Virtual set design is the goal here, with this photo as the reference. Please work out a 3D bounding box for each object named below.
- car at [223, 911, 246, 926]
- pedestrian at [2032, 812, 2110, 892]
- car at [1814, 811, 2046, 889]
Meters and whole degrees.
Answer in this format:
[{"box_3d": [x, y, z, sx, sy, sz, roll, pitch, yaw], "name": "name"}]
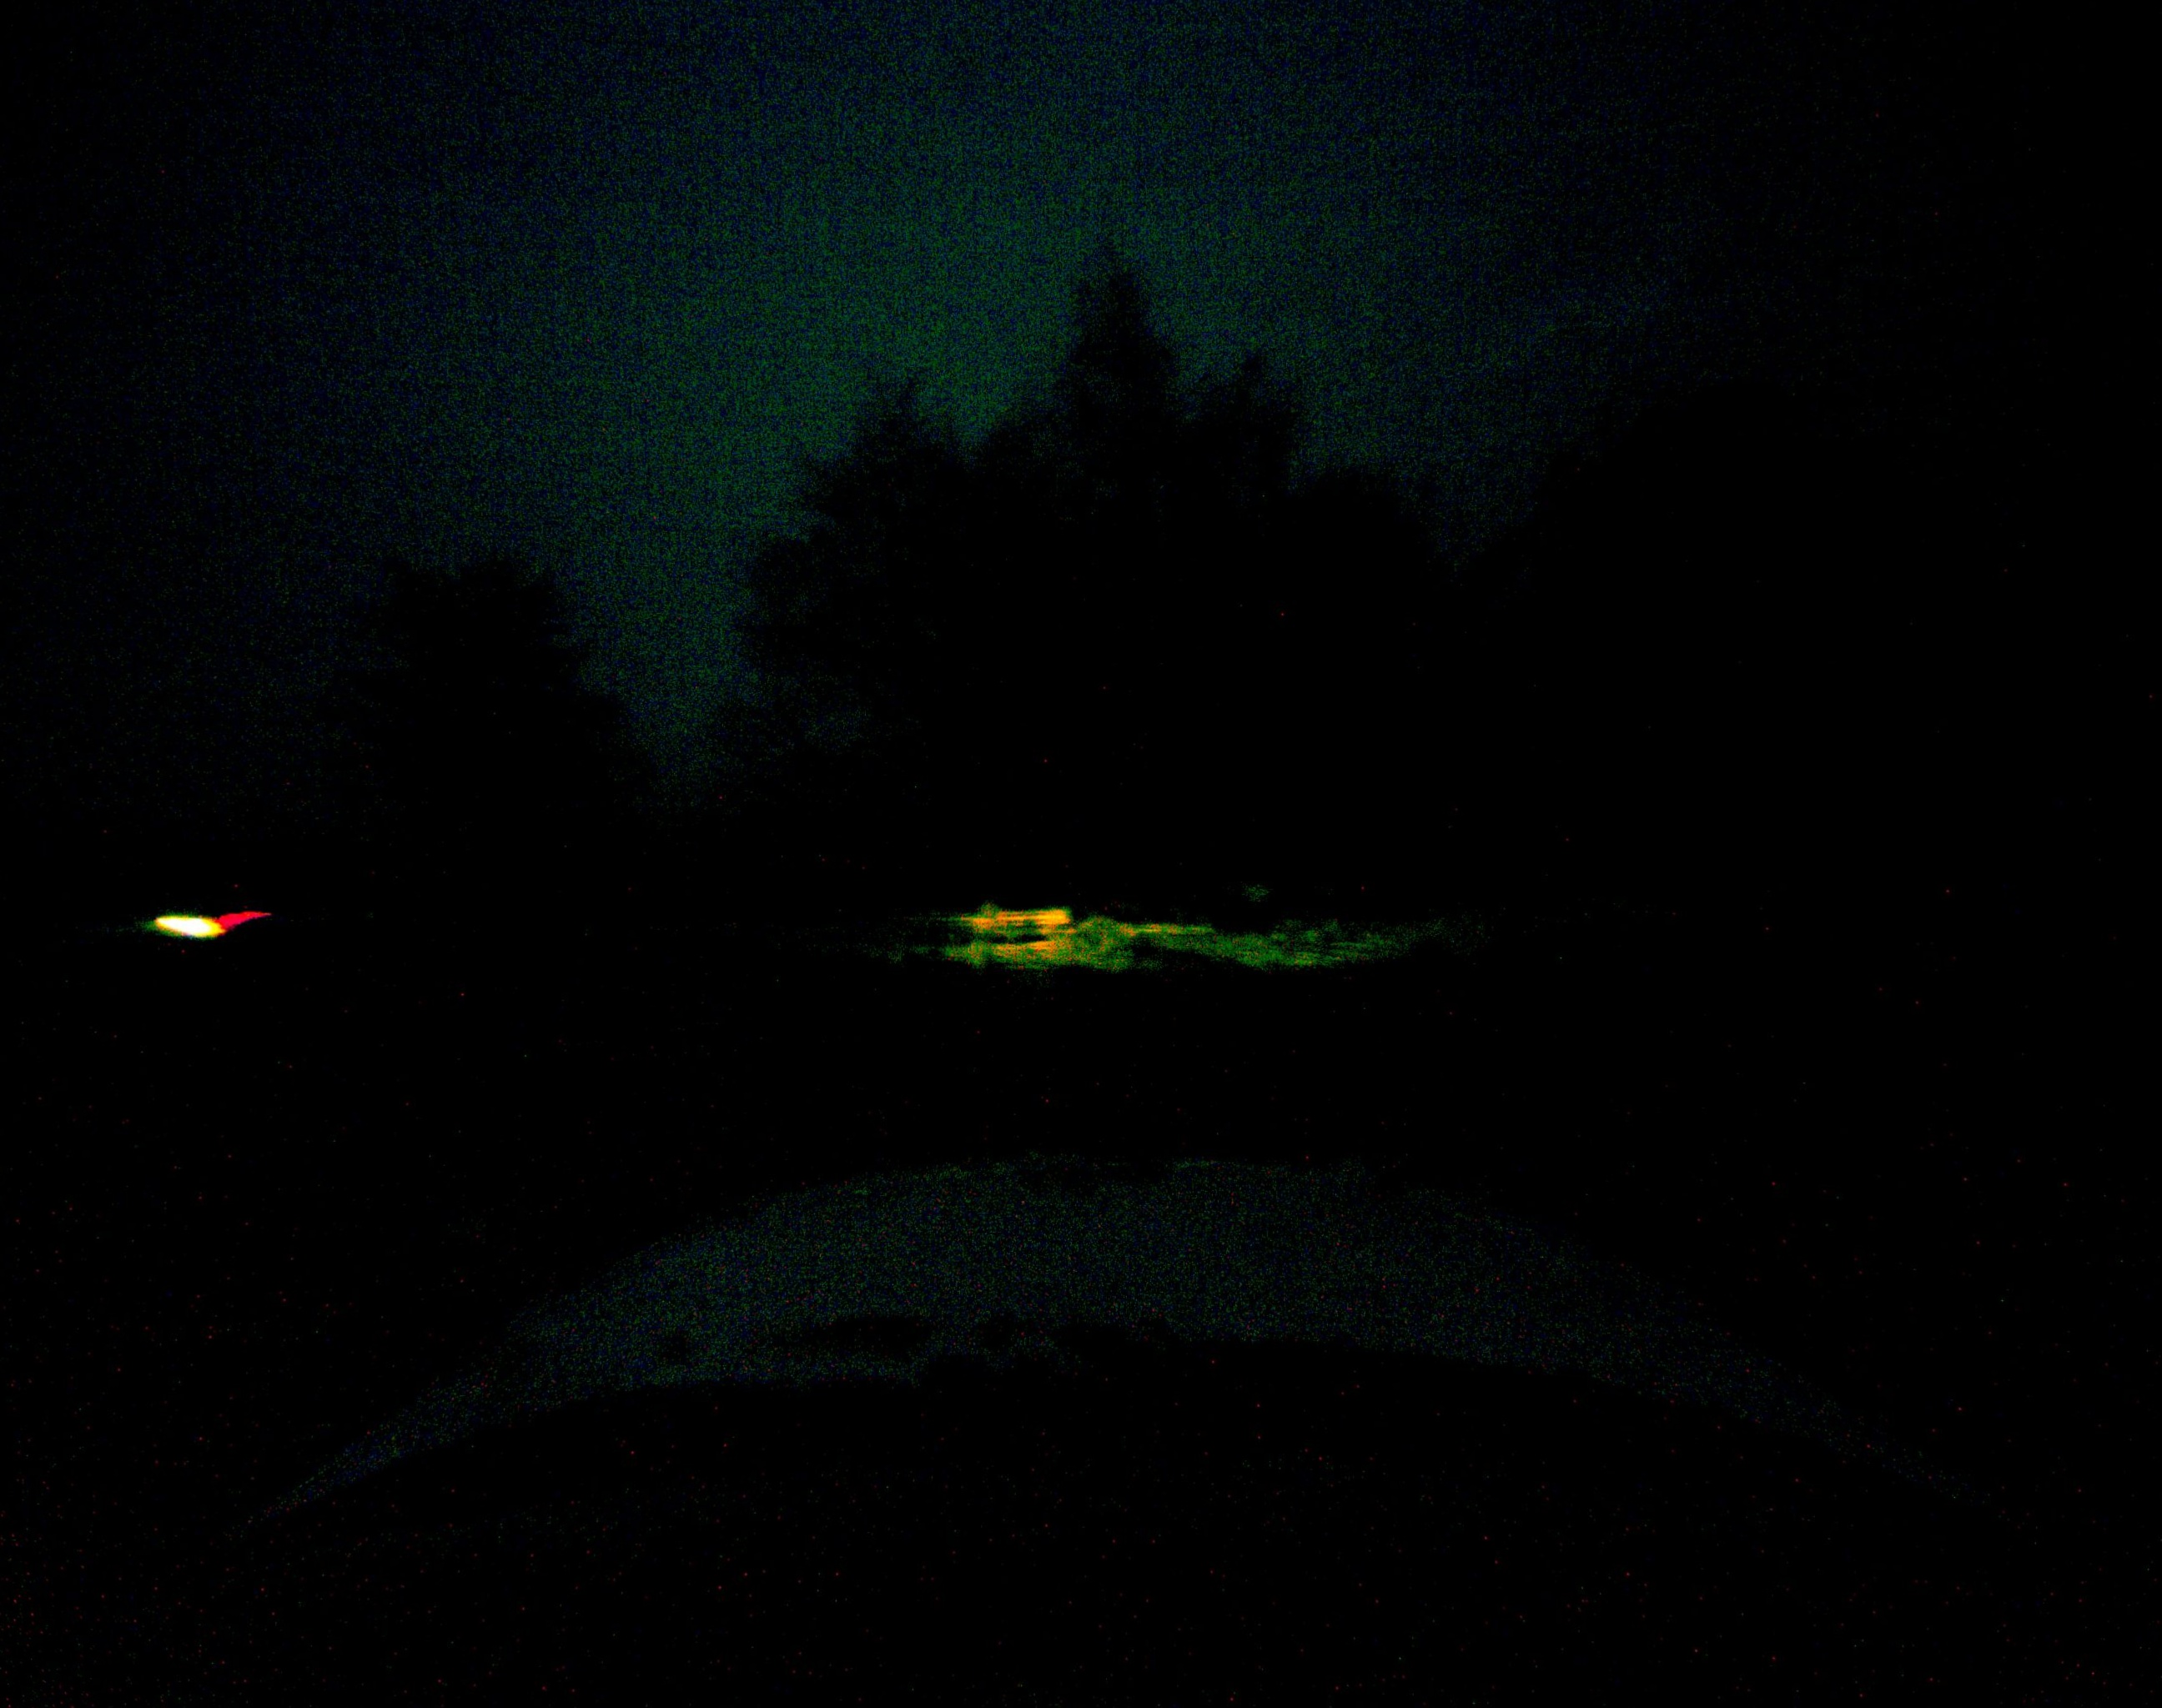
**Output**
[{"box_3d": [-93.307, 7.088, 89.732, 3.807, 1.552, 1.708, -3, -2, 43], "name": "car"}, {"box_3d": [23.300, -0.051, 19.181, 0.926, 1.828, 0.956, 0, 0, -24], "name": "pedestrian"}, {"box_3d": [22.516, -0.096, 21.774, 2.005, 1.881, 3.923, 0, 0, -29], "name": "car"}]
